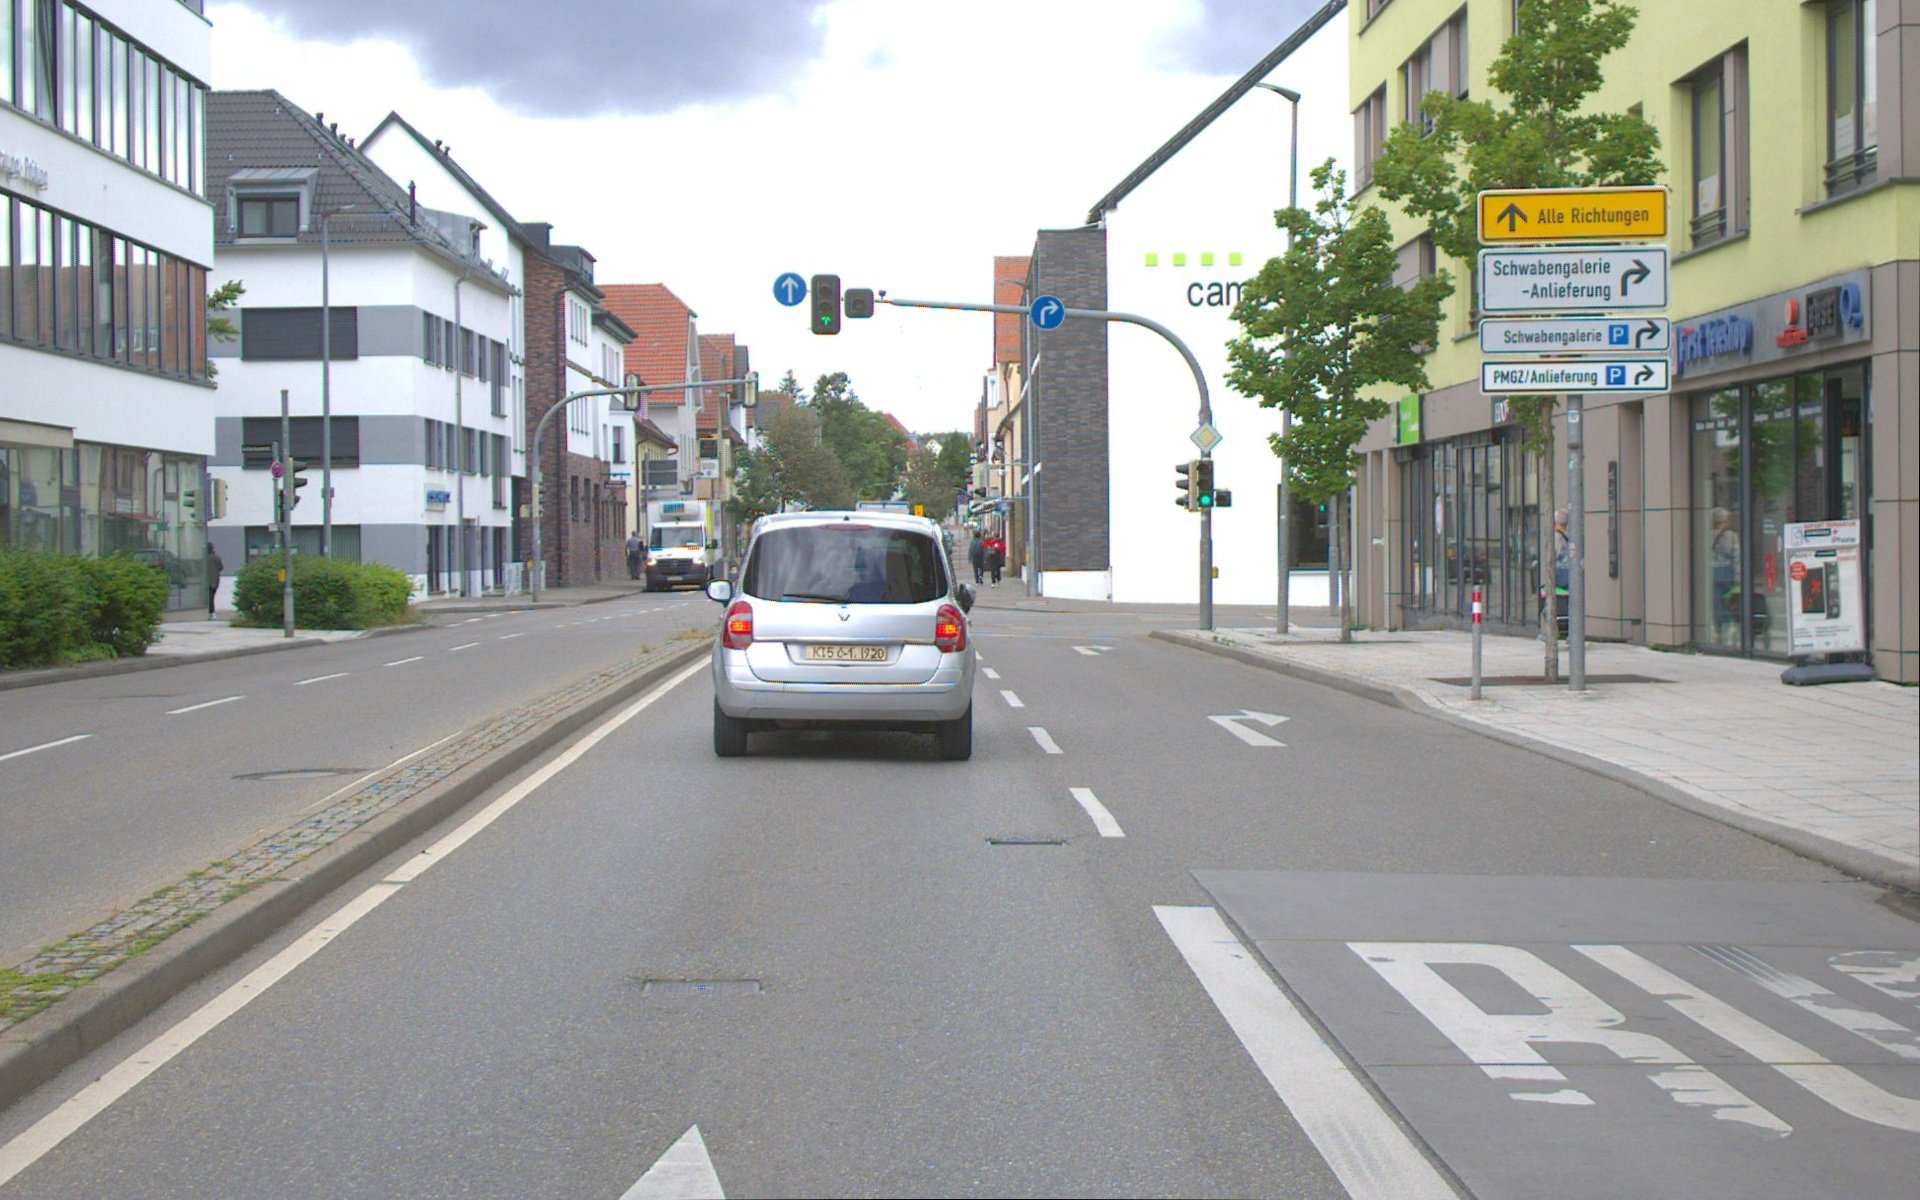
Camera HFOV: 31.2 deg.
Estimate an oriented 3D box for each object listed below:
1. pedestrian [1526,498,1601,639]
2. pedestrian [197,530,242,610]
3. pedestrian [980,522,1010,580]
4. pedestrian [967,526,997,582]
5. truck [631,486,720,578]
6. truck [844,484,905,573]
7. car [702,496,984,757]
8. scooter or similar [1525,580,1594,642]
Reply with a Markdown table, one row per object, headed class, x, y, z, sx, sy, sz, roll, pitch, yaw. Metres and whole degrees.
| class | x | y | z | sx | sy | sz | roll | pitch | yaw |
| --- | --- | --- | --- | --- | --- | --- | --- | --- | --- |
| pedestrian | 6.946 | -0.367 | 39.585 | 0.695 | 1.588 | 0.603 | -2 | 1 | -2 |
| pedestrian | -15.786 | -0.647 | 73.332 | 0.881 | 1.664 | 0.814 | -1 | 4 | -10 |
| pedestrian | 1.095 | -1.535 | 107.853 | 0.807 | 1.780 | 0.861 | -3 | 1 | 0 |
| pedestrian | 0.711 | -1.508 | 113.236 | 0.889 | 1.780 | 0.785 | -3 | 1 | 0 |
| truck | -9.452 | -2.275 | 114.976 | 2.435 | 2.943 | 8.365 | 0 | 1 | -1 |
| truck | -3.734 | -3.158 | 151.545 | 2.595 | 3.844 | 6.849 | 0 | 1 | 0 |
| car | -0.762 | 0.121 | 23.198 | 1.706 | 1.573 | 4.000 | 1 | 1 | -1 |
| scooter or similar | 6.776 | 0.122 | 38.875 | 0.592 | 0.670 | 0.824 | -2 | 1 | -2 |
